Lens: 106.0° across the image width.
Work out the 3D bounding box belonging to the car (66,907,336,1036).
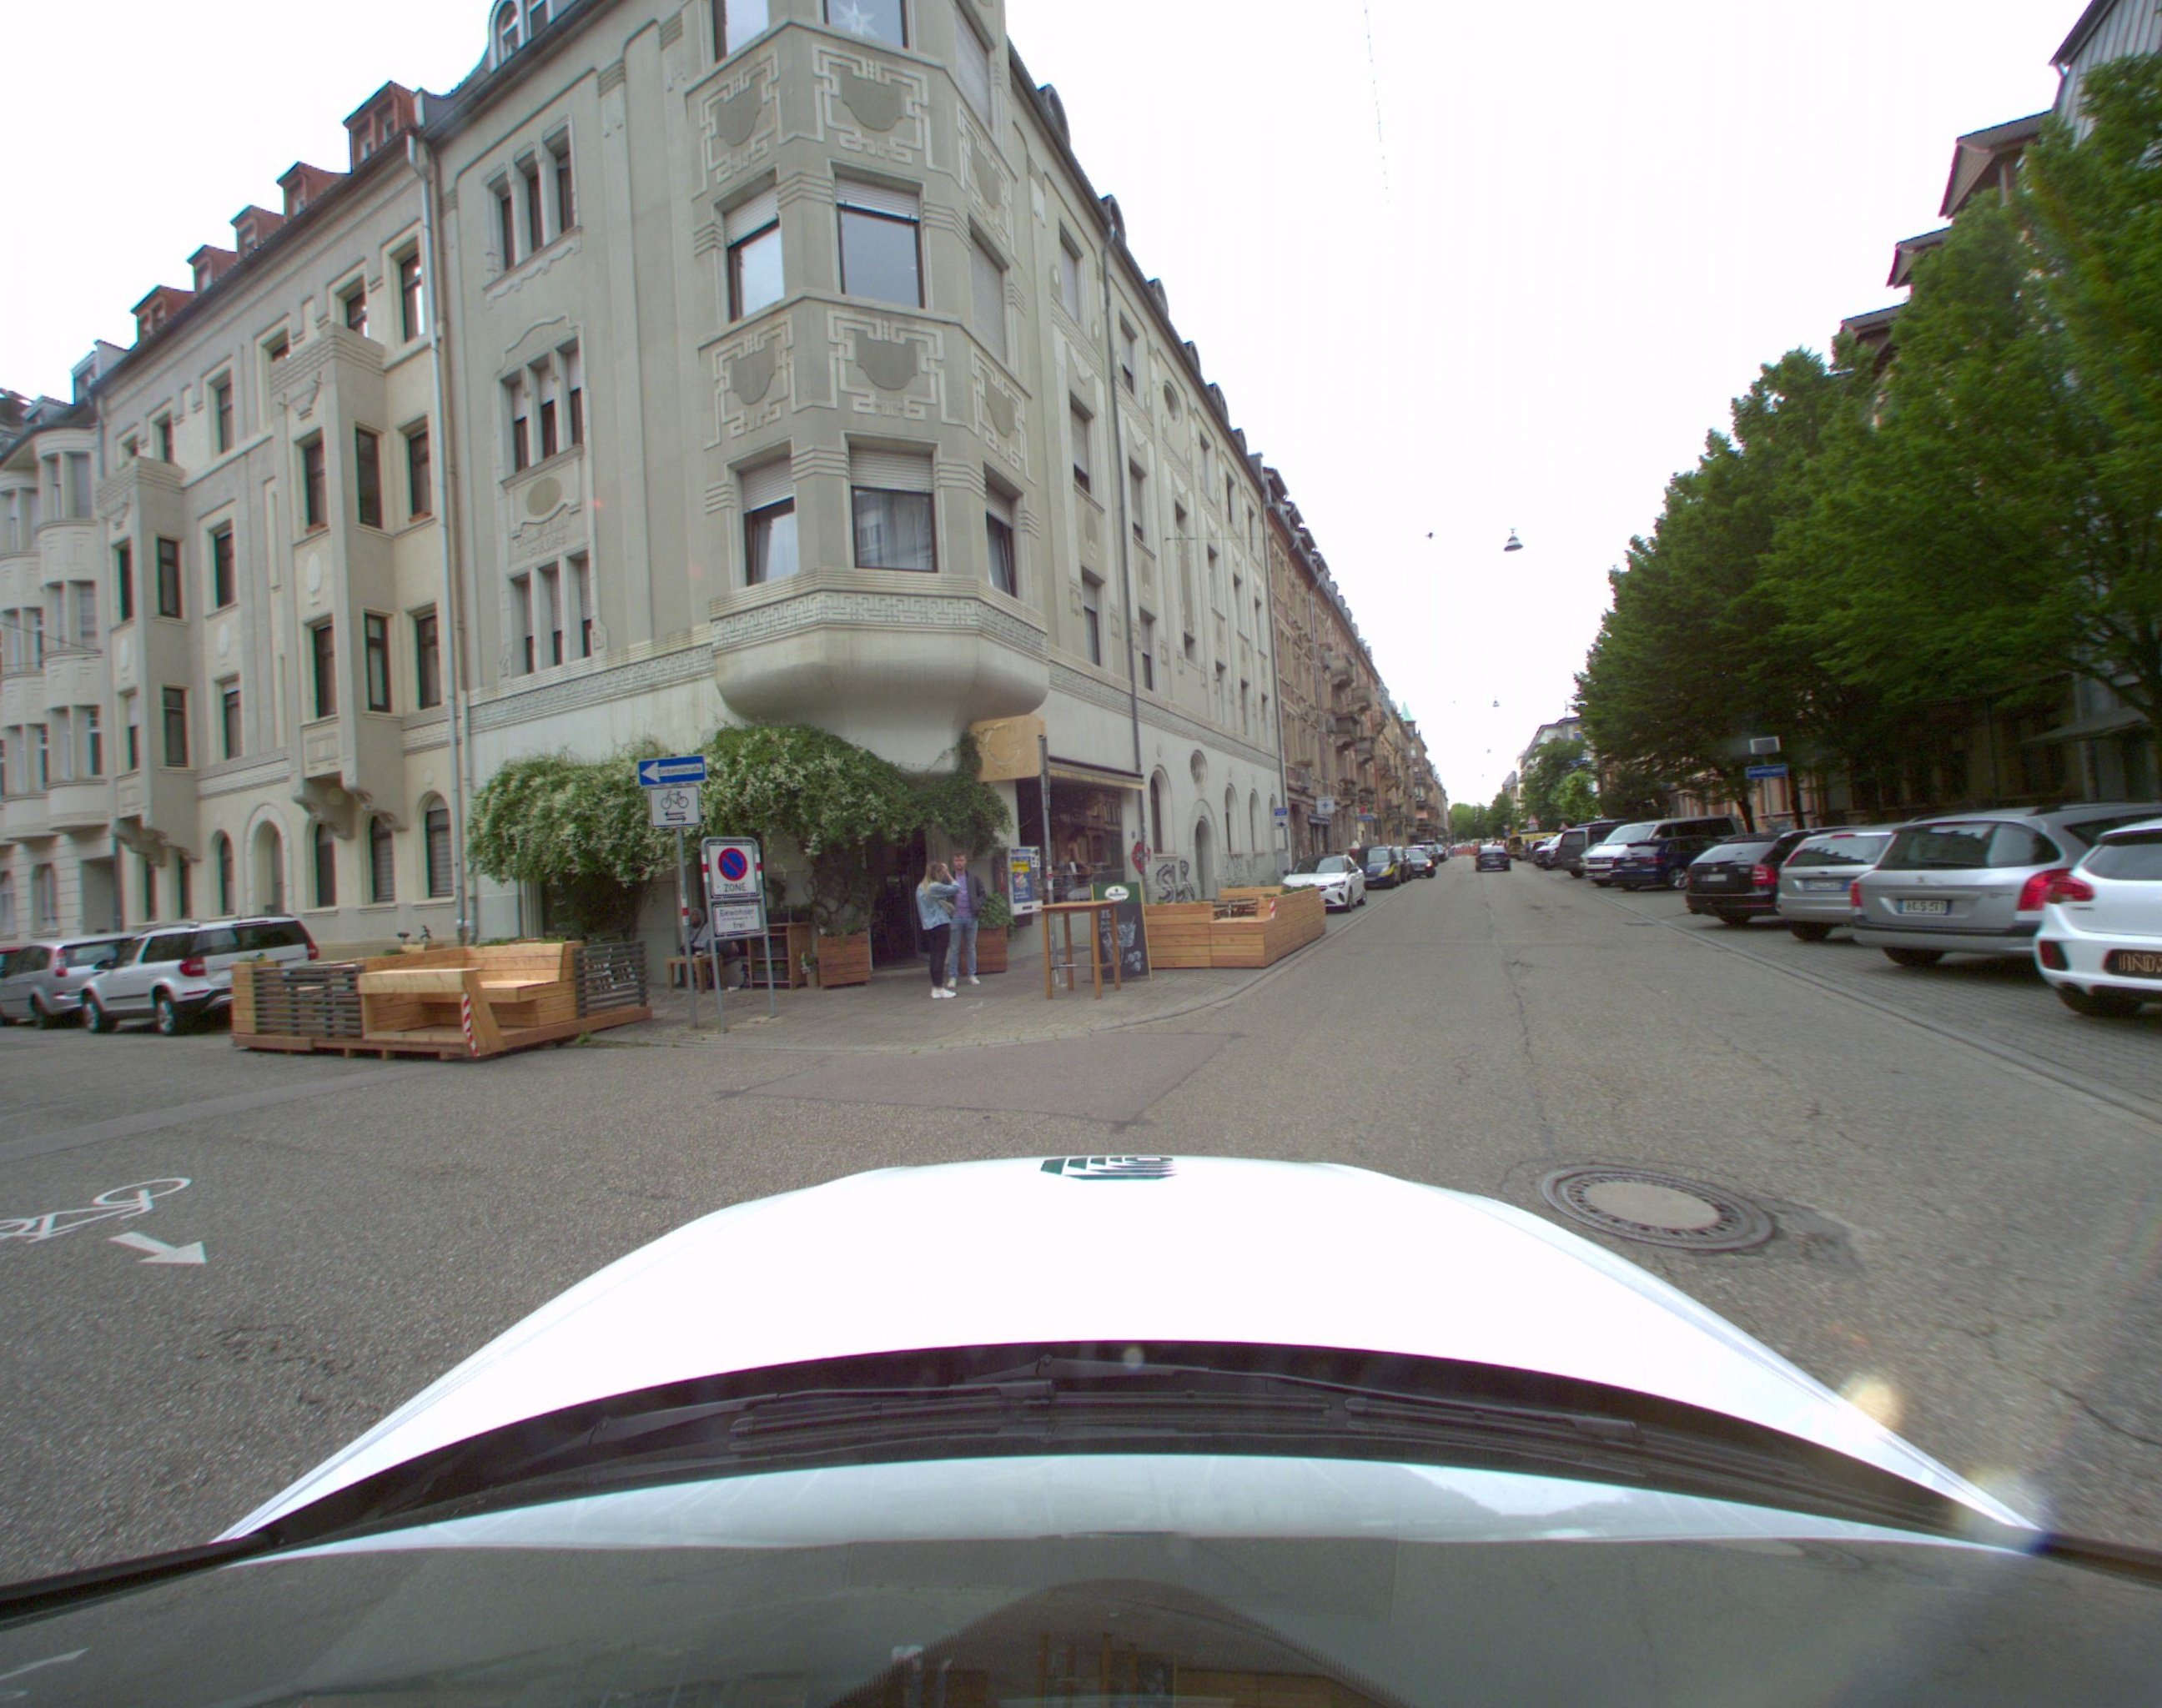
[{"bbox_3d":[-14.559,1.933,13.487,3.783,1.716,1.778,-5,1,24],"label":"car"}]

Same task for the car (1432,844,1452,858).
[{"bbox_3d":[43.849,-0.318,98.928,1.976,1.499,4.021,-4,-2,22],"label":"car"}]

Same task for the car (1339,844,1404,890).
[{"bbox_3d":[11.439,0.479,31.901,1.926,1.617,3.966,-3,-1,26],"label":"car"}]

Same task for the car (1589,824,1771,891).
[{"bbox_3d":[16.489,0.119,22.525,3.849,1.505,1.766,-4,-2,-9],"label":"car"}]

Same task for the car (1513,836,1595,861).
[{"bbox_3d":[37.175,-0.420,64.118,5.376,1.553,1.947,-3,-1,-4],"label":"car"}]

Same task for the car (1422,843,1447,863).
[{"bbox_3d":[33.944,-0.095,78.190,1.926,1.738,3.966,-4,-1,26],"label":"car"}]

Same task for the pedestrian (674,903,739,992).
[{"bbox_3d":[-5.386,1.333,11.719,0.573,1.197,0.558,-4,-1,25],"label":"pedestrian"}]

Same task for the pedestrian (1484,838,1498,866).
[{"bbox_3d":[32.504,-0.129,64.575,0.883,2.146,1.034,-4,-2,24],"label":"pedestrian"}]

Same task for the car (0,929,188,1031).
[{"bbox_3d":[-19.381,2.420,15.690,3.783,1.557,1.709,-5,1,24],"label":"car"}]

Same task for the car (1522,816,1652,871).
[{"bbox_3d":[26.577,-0.525,42.930,5.361,2.373,1.953,-5,-2,4],"label":"car"}]

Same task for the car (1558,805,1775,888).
[{"bbox_3d":[18.202,-0.210,25.434,5.605,2.127,1.944,-4,-2,-9],"label":"car"}]

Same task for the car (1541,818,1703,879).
[{"bbox_3d":[21.625,-0.210,32.628,5.384,1.992,1.944,-4,-2,-9],"label":"car"}]

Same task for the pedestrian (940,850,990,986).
[{"bbox_3d":[-1.549,0.835,10.824,0.578,1.735,0.504,-2,-2,-10],"label":"pedestrian"}]

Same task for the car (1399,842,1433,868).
[{"bbox_3d":[23.296,0.078,56.619,1.926,1.617,3.965,-3,-1,25],"label":"car"}]

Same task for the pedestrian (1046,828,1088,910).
[{"bbox_3d":[-0.288,0.302,16.465,0.742,1.593,0.618,-2,-2,-5],"label":"pedestrian"}]

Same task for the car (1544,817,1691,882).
[{"bbox_3d":[19.205,-0.133,29.296,3.969,2.014,1.753,-4,-1,4],"label":"car"}]

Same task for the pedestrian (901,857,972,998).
[{"bbox_3d":[-1.791,0.890,10.073,0.579,1.660,0.573,-1,-3,-43],"label":"pedestrian"}]

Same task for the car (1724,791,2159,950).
[{"bbox_3d":[10.909,0.197,10.475,4.045,1.585,1.766,-4,-2,-8],"label":"car"}]

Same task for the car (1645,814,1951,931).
[{"bbox_3d":[11.502,0.285,13.148,3.857,1.505,1.762,-4,-2,-15],"label":"car"}]

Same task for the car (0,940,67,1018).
[{"bbox_3d":[-24.958,2.899,18.291,3.783,1.557,1.709,-5,1,24],"label":"car"}]

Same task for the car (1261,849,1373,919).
[{"bbox_3d":[6.246,0.728,21.282,1.925,1.553,3.840,-5,-2,28],"label":"car"}]

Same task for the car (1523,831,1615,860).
[{"bbox_3d":[34.581,-0.575,57.798,5.376,1.553,1.947,-4,-2,-4],"label":"car"}]

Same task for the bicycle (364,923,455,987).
[{"bbox_3d":[-12.764,1.905,15.474,1.725,1.097,0.729,-4,-1,30],"label":"bicycle"}]

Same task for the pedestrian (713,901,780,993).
[{"bbox_3d":[-4.657,1.287,11.341,0.573,1.197,0.558,-4,-1,25],"label":"pedestrian"}]

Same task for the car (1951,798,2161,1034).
[{"bbox_3d":[8.741,0.264,5.671,4.048,1.486,1.676,-4,-2,-11],"label":"car"}]

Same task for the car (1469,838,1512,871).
[{"bbox_3d":[23.451,0.056,46.773,1.975,1.681,4.022,-4,-2,24],"label":"car"}]

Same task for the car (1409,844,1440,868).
[{"bbox_3d":[26.275,0.137,62.227,1.926,1.742,3.966,-3,-1,26],"label":"car"}]

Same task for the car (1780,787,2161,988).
[{"bbox_3d":[9.587,0.227,7.971,4.041,1.585,1.768,-4,-2,-5],"label":"car"}]

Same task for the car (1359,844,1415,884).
[{"bbox_3d":[13.876,0.437,36.838,1.926,1.617,3.966,-3,-1,26],"label":"car"}]

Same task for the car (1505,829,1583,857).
[{"bbox_3d":[39.047,-0.890,68.745,5.376,1.868,1.947,-4,-2,-4],"label":"car"}]

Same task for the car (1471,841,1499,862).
[{"bbox_3d":[35.672,-0.158,71.947,1.975,1.681,4.022,-4,-2,24],"label":"car"}]

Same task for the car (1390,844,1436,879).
[{"bbox_3d":[17.051,0.357,41.741,1.926,1.617,3.965,-3,-1,25],"label":"car"}]
